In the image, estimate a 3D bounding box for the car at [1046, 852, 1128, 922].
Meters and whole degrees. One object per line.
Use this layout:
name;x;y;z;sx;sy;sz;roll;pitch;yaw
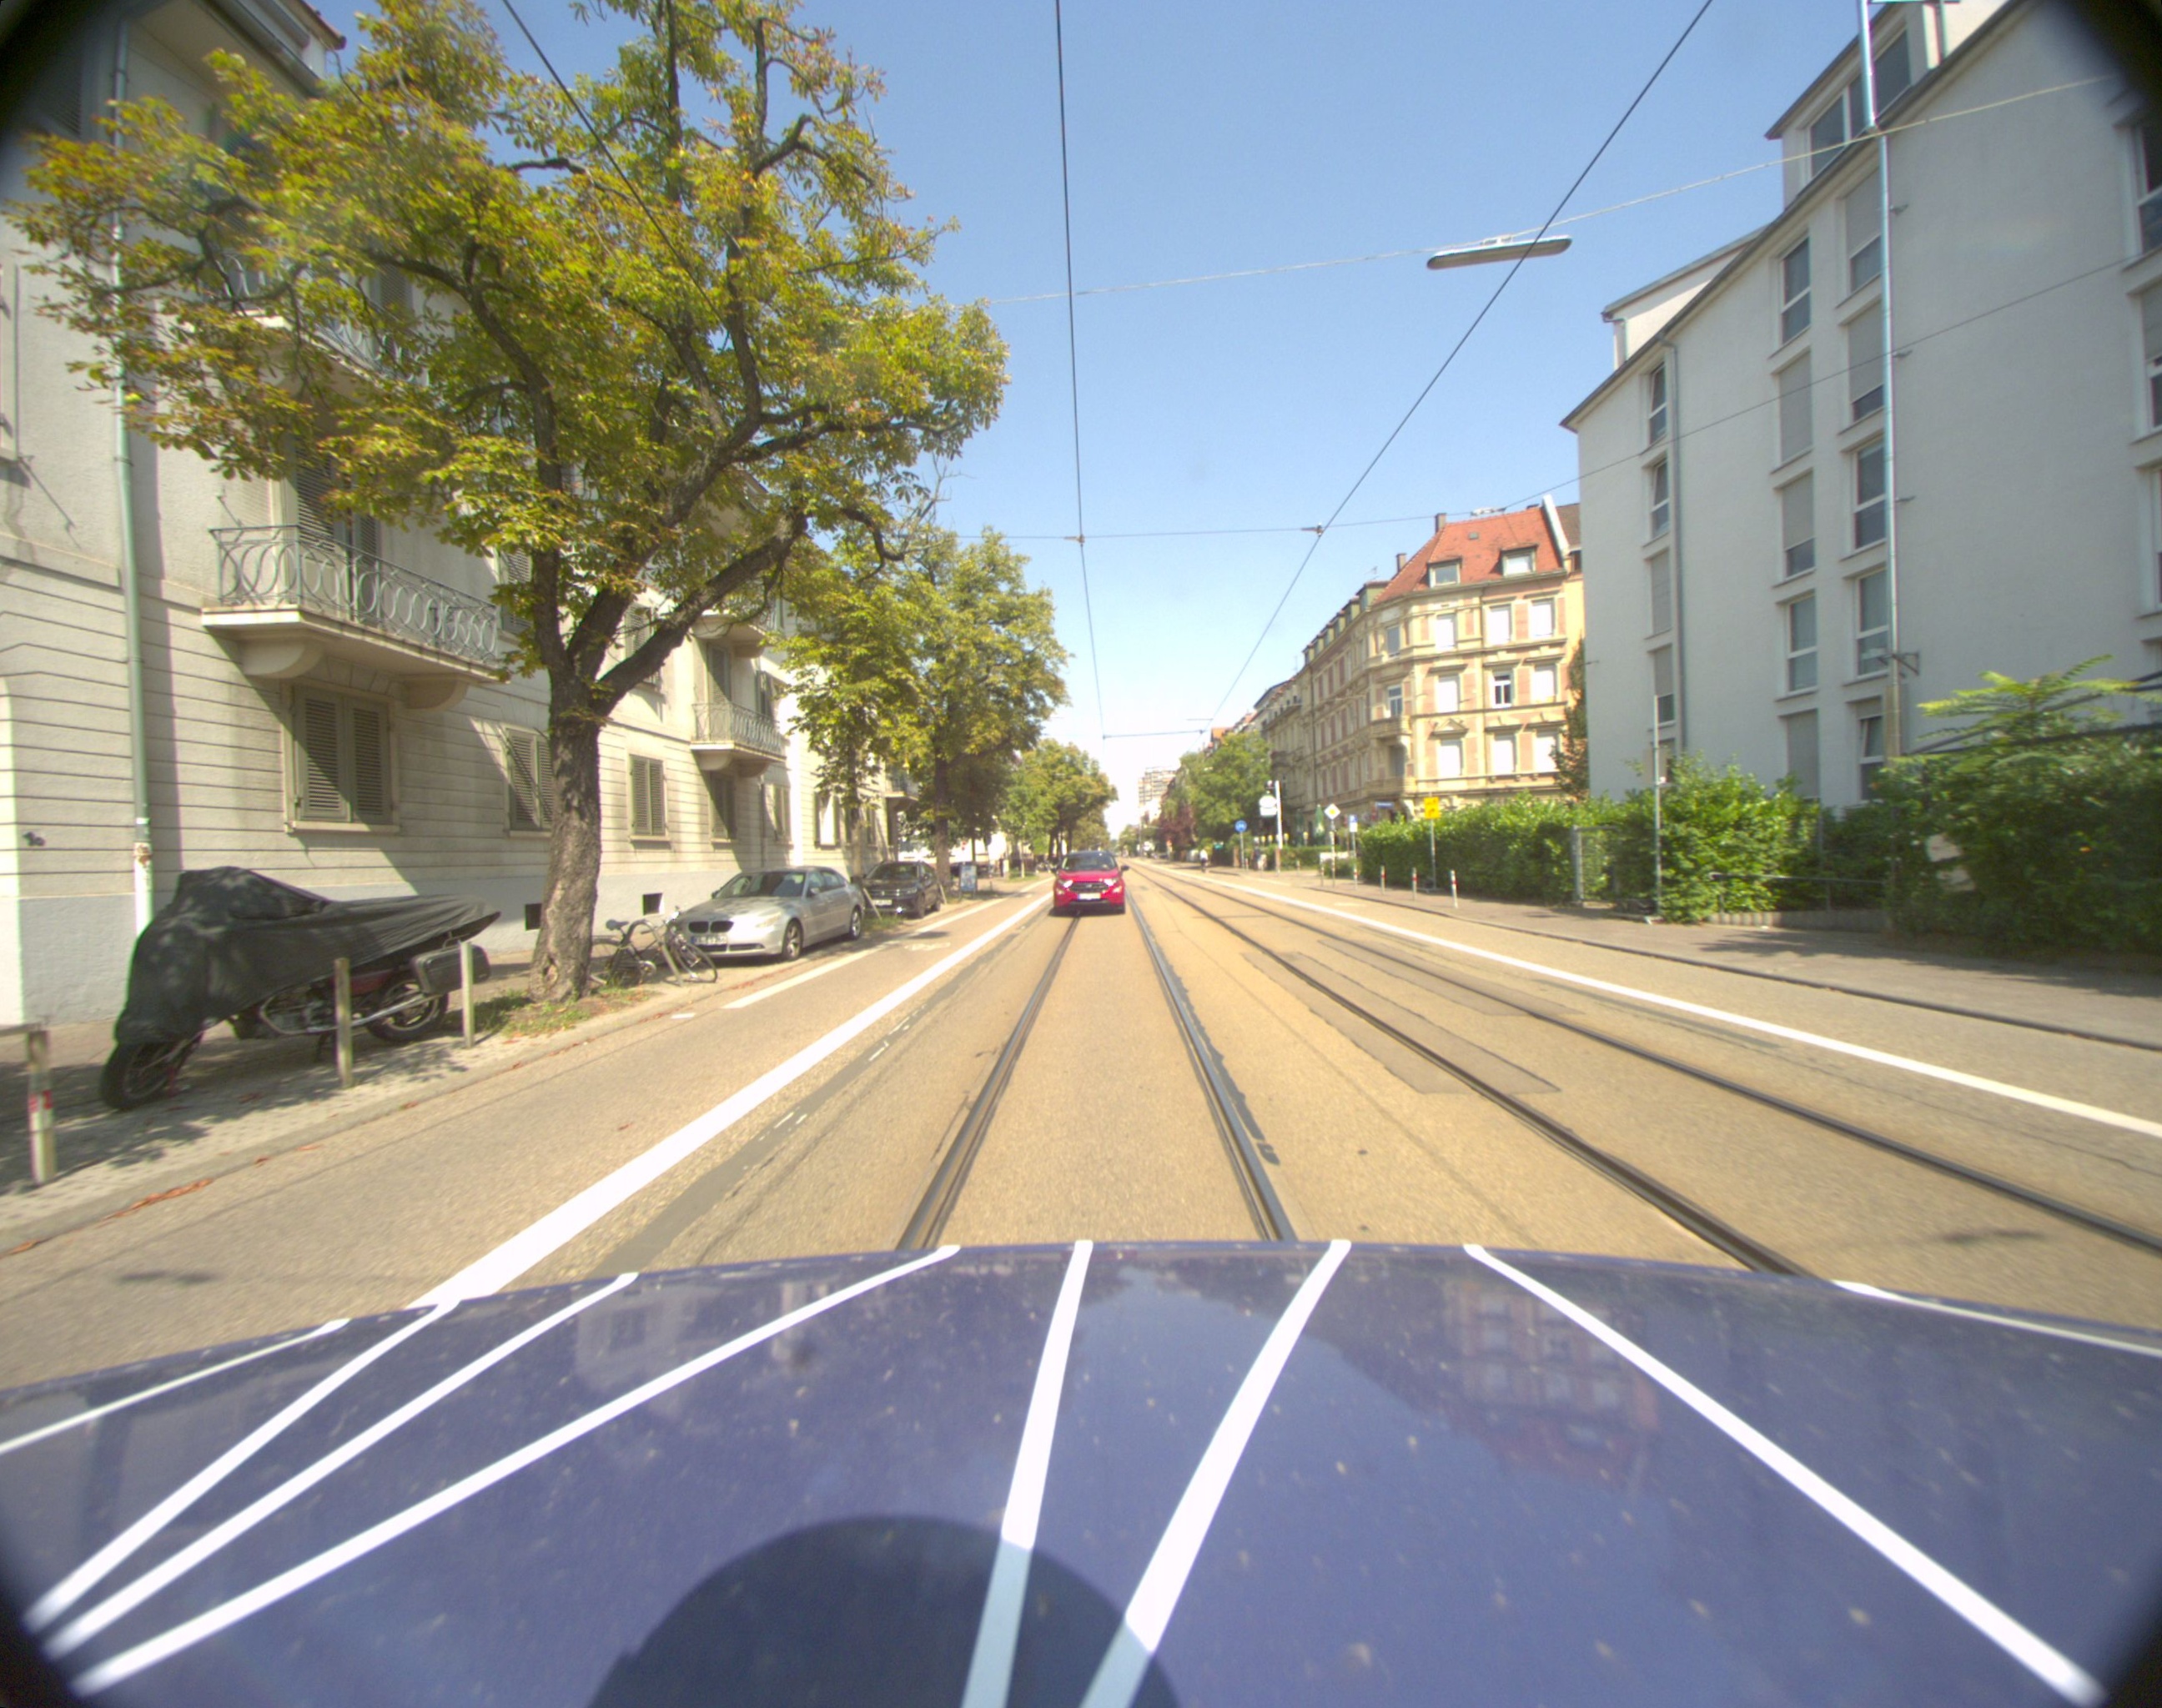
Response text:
car;0.267;0.767;19.531;1.815;1.542;4.022;-3;0;4

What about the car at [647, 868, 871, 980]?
car;-5.182;1.029;13.072;1.787;1.442;4.751;-1;0;0

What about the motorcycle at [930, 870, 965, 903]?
motorcycle;-5.027;1.188;28.740;0.829;1.105;2.497;-2;0;0

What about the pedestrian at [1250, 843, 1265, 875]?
pedestrian;11.108;0.294;47.770;0.657;2.002;0.974;-2;1;0

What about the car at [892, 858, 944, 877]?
car;-13.642;1.144;63.721;3.990;1.422;1.841;-2;0;29

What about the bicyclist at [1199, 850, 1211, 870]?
bicyclist;8.930;0.437;54.673;0.657;1.420;0.974;-2;0;0

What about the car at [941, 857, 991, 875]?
car;-10.317;1.108;68.066;3.990;1.435;1.978;-2;0;25

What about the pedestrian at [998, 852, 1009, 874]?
pedestrian;-6.579;0.772;64.225;0.749;1.775;0.632;-2;1;3

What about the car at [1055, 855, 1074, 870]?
car;-1.671;0.829;76.319;1.598;1.489;4.053;-1;0;3

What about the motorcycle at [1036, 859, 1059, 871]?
motorcycle;-3.096;1.044;70.549;1.999;1.009;0.796;-2;1;2

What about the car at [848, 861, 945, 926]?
car;-4.881;0.984;20.736;1.667;1.498;4.433;-1;0;-2

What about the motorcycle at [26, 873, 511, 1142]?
motorcycle;-5.915;0.976;5.870;0.887;1.544;2.413;-1;1;10

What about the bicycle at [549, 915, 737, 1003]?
bicycle;-5.422;1.295;9.461;1.927;0.947;0.721;-2;1;5

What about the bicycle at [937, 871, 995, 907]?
bicycle;-3.830;1.159;25.361;1.759;1.116;0.656;-2;1;2

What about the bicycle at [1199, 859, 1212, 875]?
bicycle;8.955;0.916;54.628;0.642;1.070;1.915;-2;0;0
